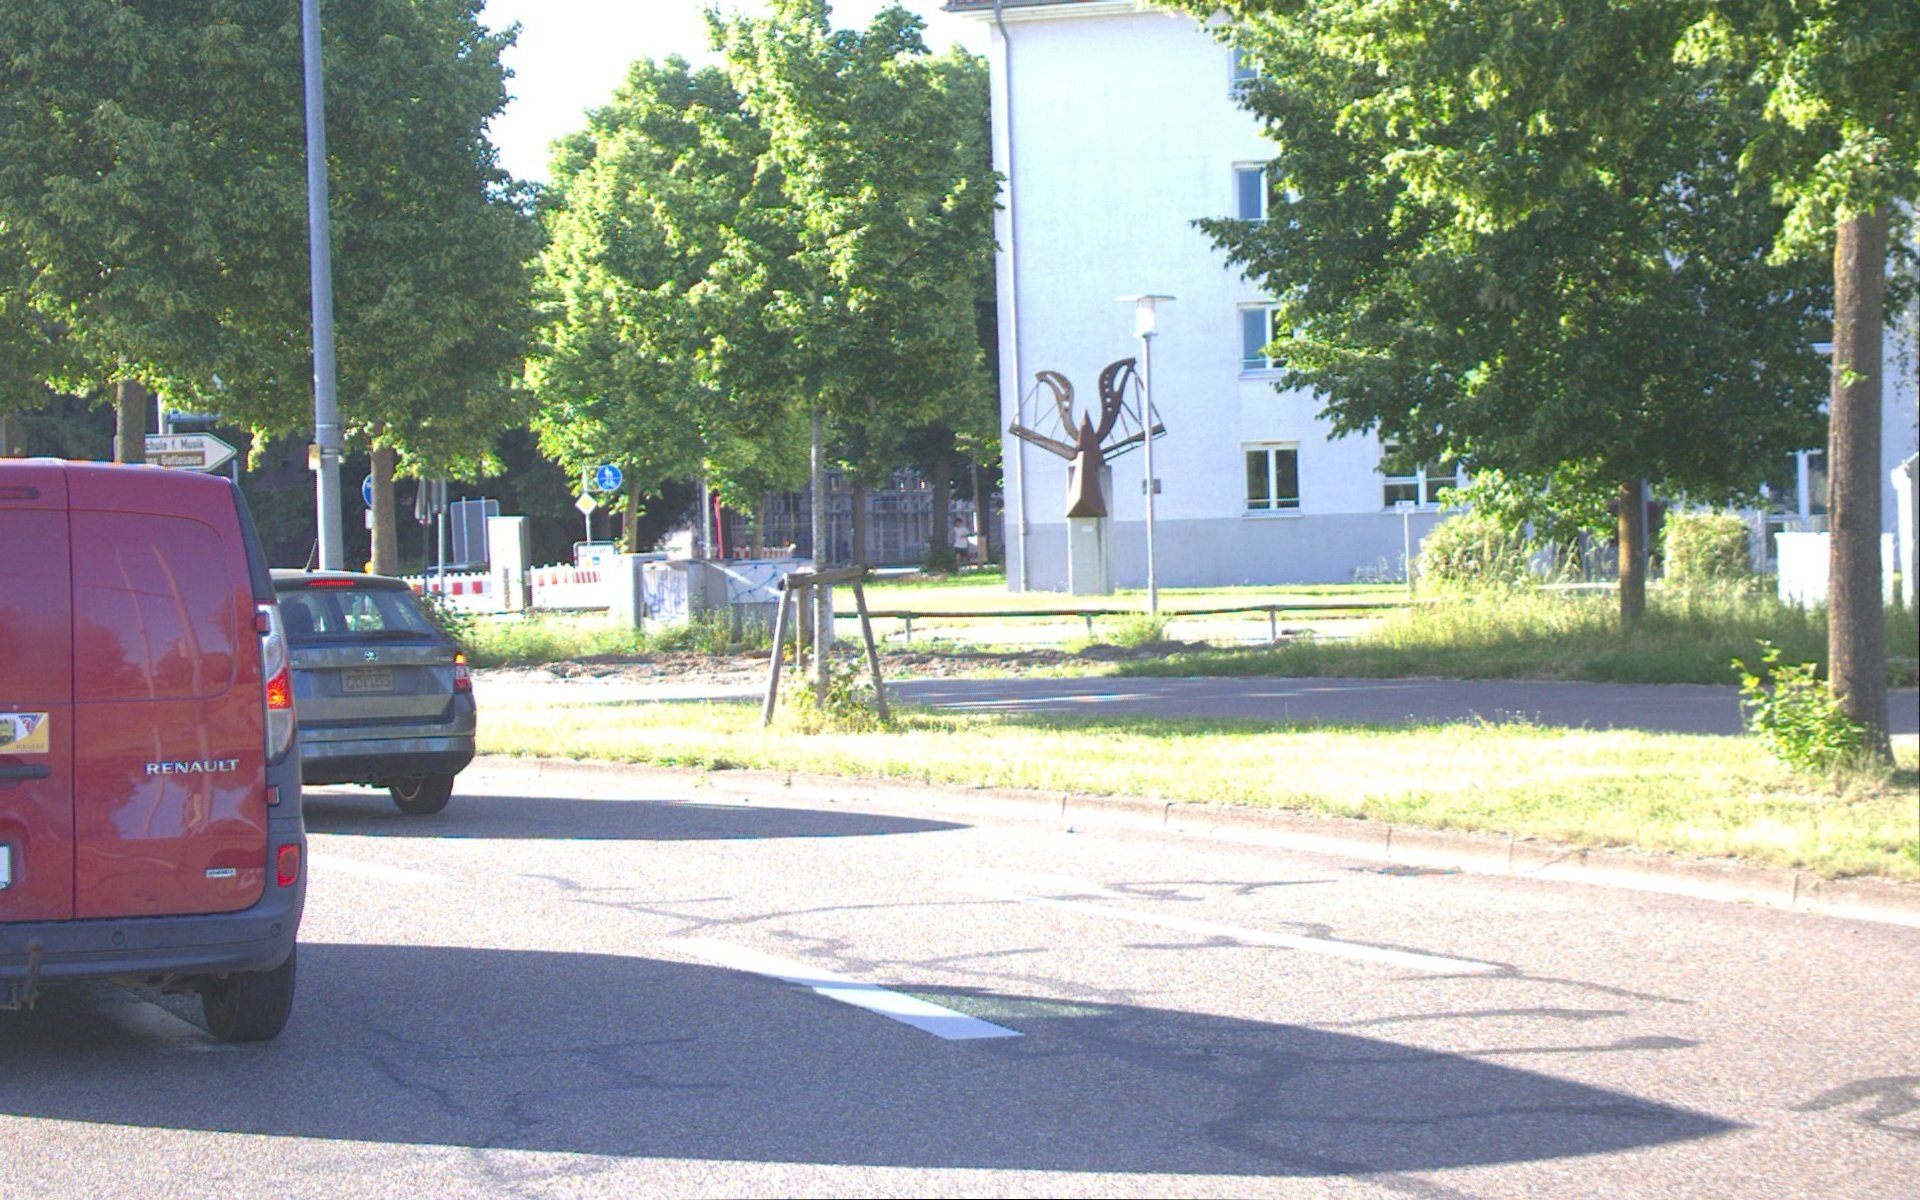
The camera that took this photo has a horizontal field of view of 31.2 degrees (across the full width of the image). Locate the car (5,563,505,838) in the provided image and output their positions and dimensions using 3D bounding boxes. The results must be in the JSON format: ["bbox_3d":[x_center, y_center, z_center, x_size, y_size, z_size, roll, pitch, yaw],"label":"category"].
[{"bbox_3d":[-4.287,0.534,20.416,1.714,1.431,4.152,-1,0,-29],"label":"car"}]

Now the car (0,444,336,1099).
[{"bbox_3d":[-3.357,0.446,11.247,1.802,1.807,3.810,-1,1,-23],"label":"car"}]

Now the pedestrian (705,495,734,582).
[{"bbox_3d":[-5.591,-1.435,80.043,0.471,2.007,0.454,-1,1,22],"label":"pedestrian"}]

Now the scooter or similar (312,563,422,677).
[{"bbox_3d":[-6.650,0.228,38.556,1.263,1.243,0.444,-2,-1,36],"label":"scooter or similar"}]
